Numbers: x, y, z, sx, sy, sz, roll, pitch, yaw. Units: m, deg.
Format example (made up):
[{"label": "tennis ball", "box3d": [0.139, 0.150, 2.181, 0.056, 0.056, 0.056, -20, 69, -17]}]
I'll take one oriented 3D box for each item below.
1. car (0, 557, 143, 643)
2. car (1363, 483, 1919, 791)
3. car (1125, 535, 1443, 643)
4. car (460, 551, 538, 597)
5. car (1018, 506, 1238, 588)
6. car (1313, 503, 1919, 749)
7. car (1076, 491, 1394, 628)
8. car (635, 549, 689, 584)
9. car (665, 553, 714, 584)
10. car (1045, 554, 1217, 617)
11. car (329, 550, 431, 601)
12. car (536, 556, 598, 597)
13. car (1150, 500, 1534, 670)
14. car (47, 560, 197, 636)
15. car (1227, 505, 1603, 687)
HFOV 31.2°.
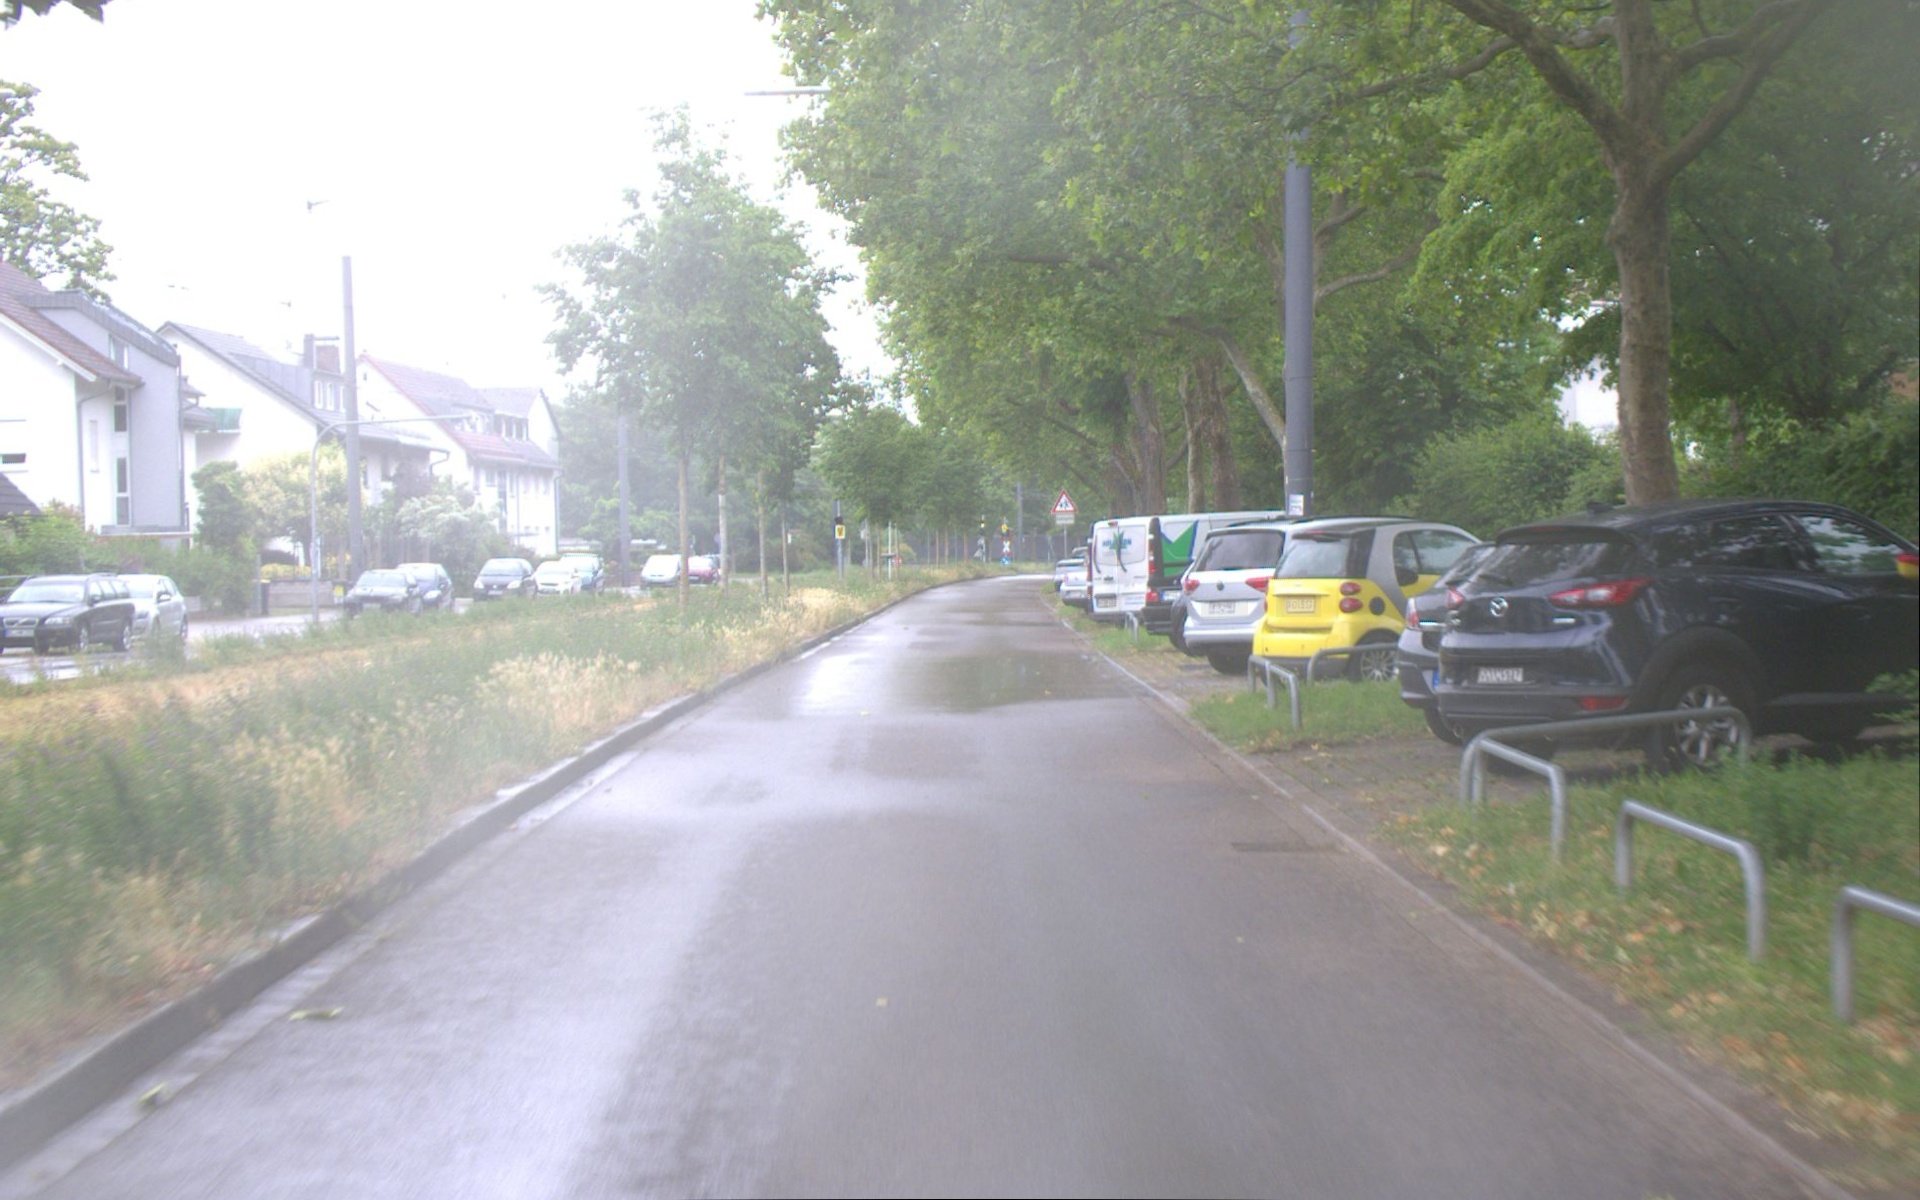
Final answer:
[{"label": "car", "box3d": [-16.589, -0.030, 63.050, 1.993, 1.450, 4.531, 1, 1, 2]}, {"label": "car", "box3d": [4.441, 0.142, 19.684, 3.792, 1.527, 1.883, -3, 2, -28]}, {"label": "car", "box3d": [4.423, -0.172, 46.611, 4.293, 1.379, 1.740, -1, 1, -39]}, {"label": "car", "box3d": [-15.991, -0.928, 119.512, 1.993, 1.511, 4.205, 1, 1, 2]}, {"label": "car", "box3d": [3.740, -1.180, 76.336, 4.546, 1.539, 1.888, -5, 3, -31]}, {"label": "car", "box3d": [4.512, 0.144, 23.218, 4.050, 1.413, 1.742, -3, 1, -36]}, {"label": "car", "box3d": [4.553, -0.696, 56.605, 5.014, 2.006, 2.000, -3, 2, -34]}, {"label": "car", "box3d": [-14.026, -1.593, 161.975, 1.993, 1.575, 4.517, 1, 1, 2]}, {"label": "car", "box3d": [-13.787, -1.607, 175.579, 1.993, 1.483, 4.205, 1, 1, 2]}, {"label": "car", "box3d": [5.011, -0.426, 100.430, 4.760, 1.662, 1.994, -2, 1, -35]}, {"label": "car", "box3d": [-16.377, -0.714, 97.246, 1.993, 1.346, 4.240, 1, 1, 2]}, {"label": "car", "box3d": [-14.988, -0.910, 131.260, 1.796, 1.483, 3.597, 1, 1, 2]}, {"label": "car", "box3d": [4.161, -0.178, 37.154, 4.036, 1.635, 1.654, -3, 1, -37]}, {"label": "car", "box3d": [-16.704, -0.062, 68.689, 1.993, 1.406, 3.971, 1, 1, 0]}, {"label": "car", "box3d": [4.089, -0.039, 30.906, 2.895, 1.461, 1.604, -3, 1, -28]}]
